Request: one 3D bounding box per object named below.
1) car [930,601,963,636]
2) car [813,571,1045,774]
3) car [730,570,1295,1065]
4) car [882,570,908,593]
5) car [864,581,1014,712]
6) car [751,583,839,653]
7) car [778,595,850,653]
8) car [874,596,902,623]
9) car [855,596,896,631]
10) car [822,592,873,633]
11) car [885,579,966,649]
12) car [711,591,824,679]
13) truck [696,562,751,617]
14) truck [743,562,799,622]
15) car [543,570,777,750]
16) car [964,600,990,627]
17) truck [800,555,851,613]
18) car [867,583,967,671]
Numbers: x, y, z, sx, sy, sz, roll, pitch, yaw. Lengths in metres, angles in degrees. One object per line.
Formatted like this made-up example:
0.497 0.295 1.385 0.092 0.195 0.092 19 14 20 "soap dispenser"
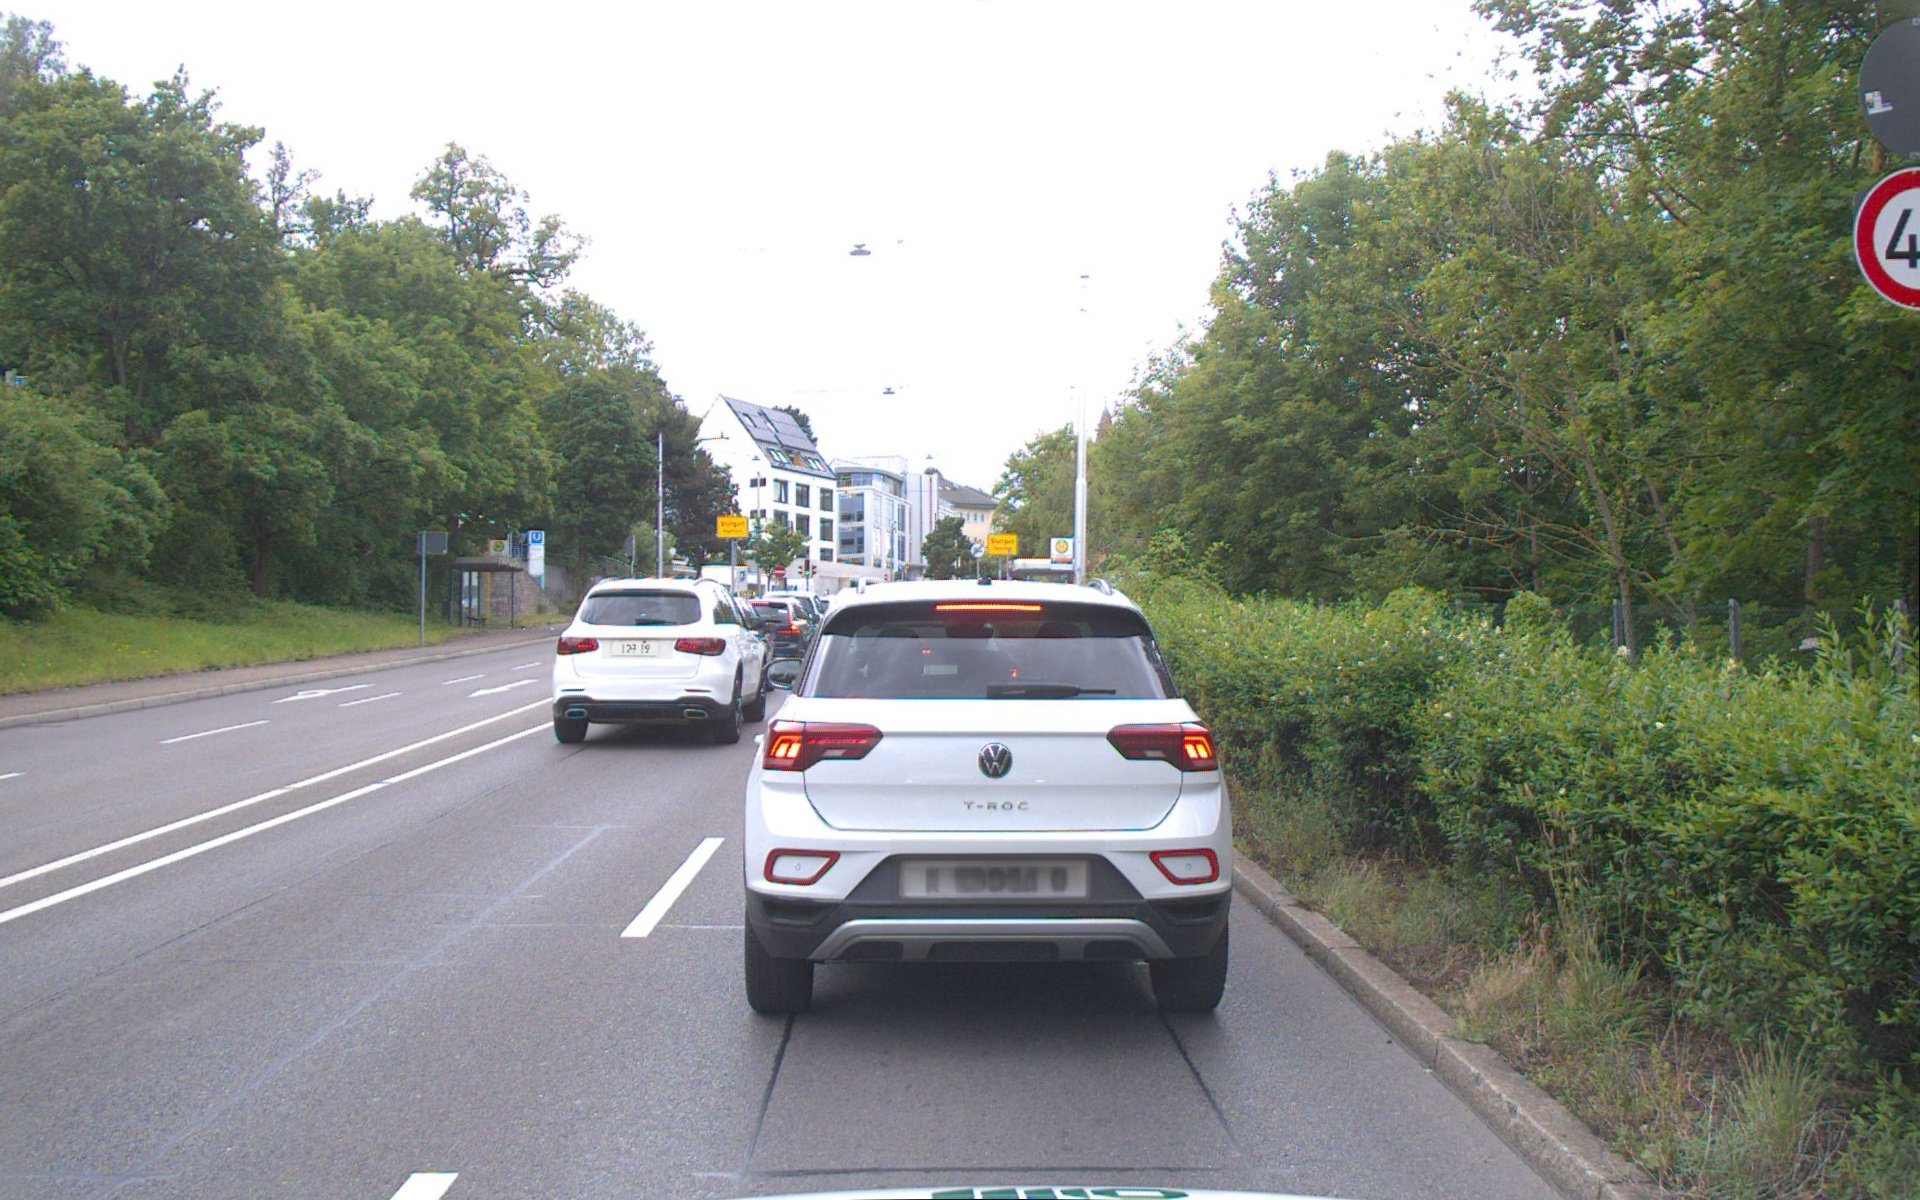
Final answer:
-0.824 1.150 102.331 1.953 2.049 3.999 -1 -1 0 "car"
-0.297 0.554 14.903 1.792 1.552 3.999 -1 0 -2 "car"
0.116 0.679 7.249 1.792 1.552 3.999 0 0 -2 "car"
-4.577 -1.287 116.704 1.792 1.552 3.999 -1 0 -2 "car"
-0.308 0.554 21.976 1.792 1.552 3.999 -1 0 -2 "car"
-3.885 0.410 39.410 1.792 1.552 3.999 -1 0 -2 "car"
-4.093 0.644 46.931 1.792 1.552 3.999 -1 0 -2 "car"
-4.717 0.578 108.581 1.778 1.685 3.927 -2 0 -2 "car"
-3.842 0.588 75.860 1.792 1.552 3.999 -1 0 -2 "car"
-4.400 0.469 65.121 1.792 1.552 3.999 -1 0 -2 "car"
-0.834 0.301 39.312 1.792 1.552 3.999 -1 0 -2 "car"
-3.628 0.620 31.832 1.792 1.552 3.999 -1 0 -2 "car"
-14.020 -0.583 98.596 2.246 3.104 6.978 -1 0 0 "truck"
-9.203 -0.389 80.858 2.315 2.754 4.476 -1 0 -2 "truck"
-3.078 0.565 17.781 1.879 1.698 3.999 1 0 -2 "car"
1.375 1.053 132.660 1.953 2.049 3.999 -1 0 -1 "car"
-6.930 -0.808 85.523 2.315 2.830 4.476 -1 0 -2 "truck"
-0.831 0.483 31.971 1.792 1.552 3.999 -1 0 -2 "car"
